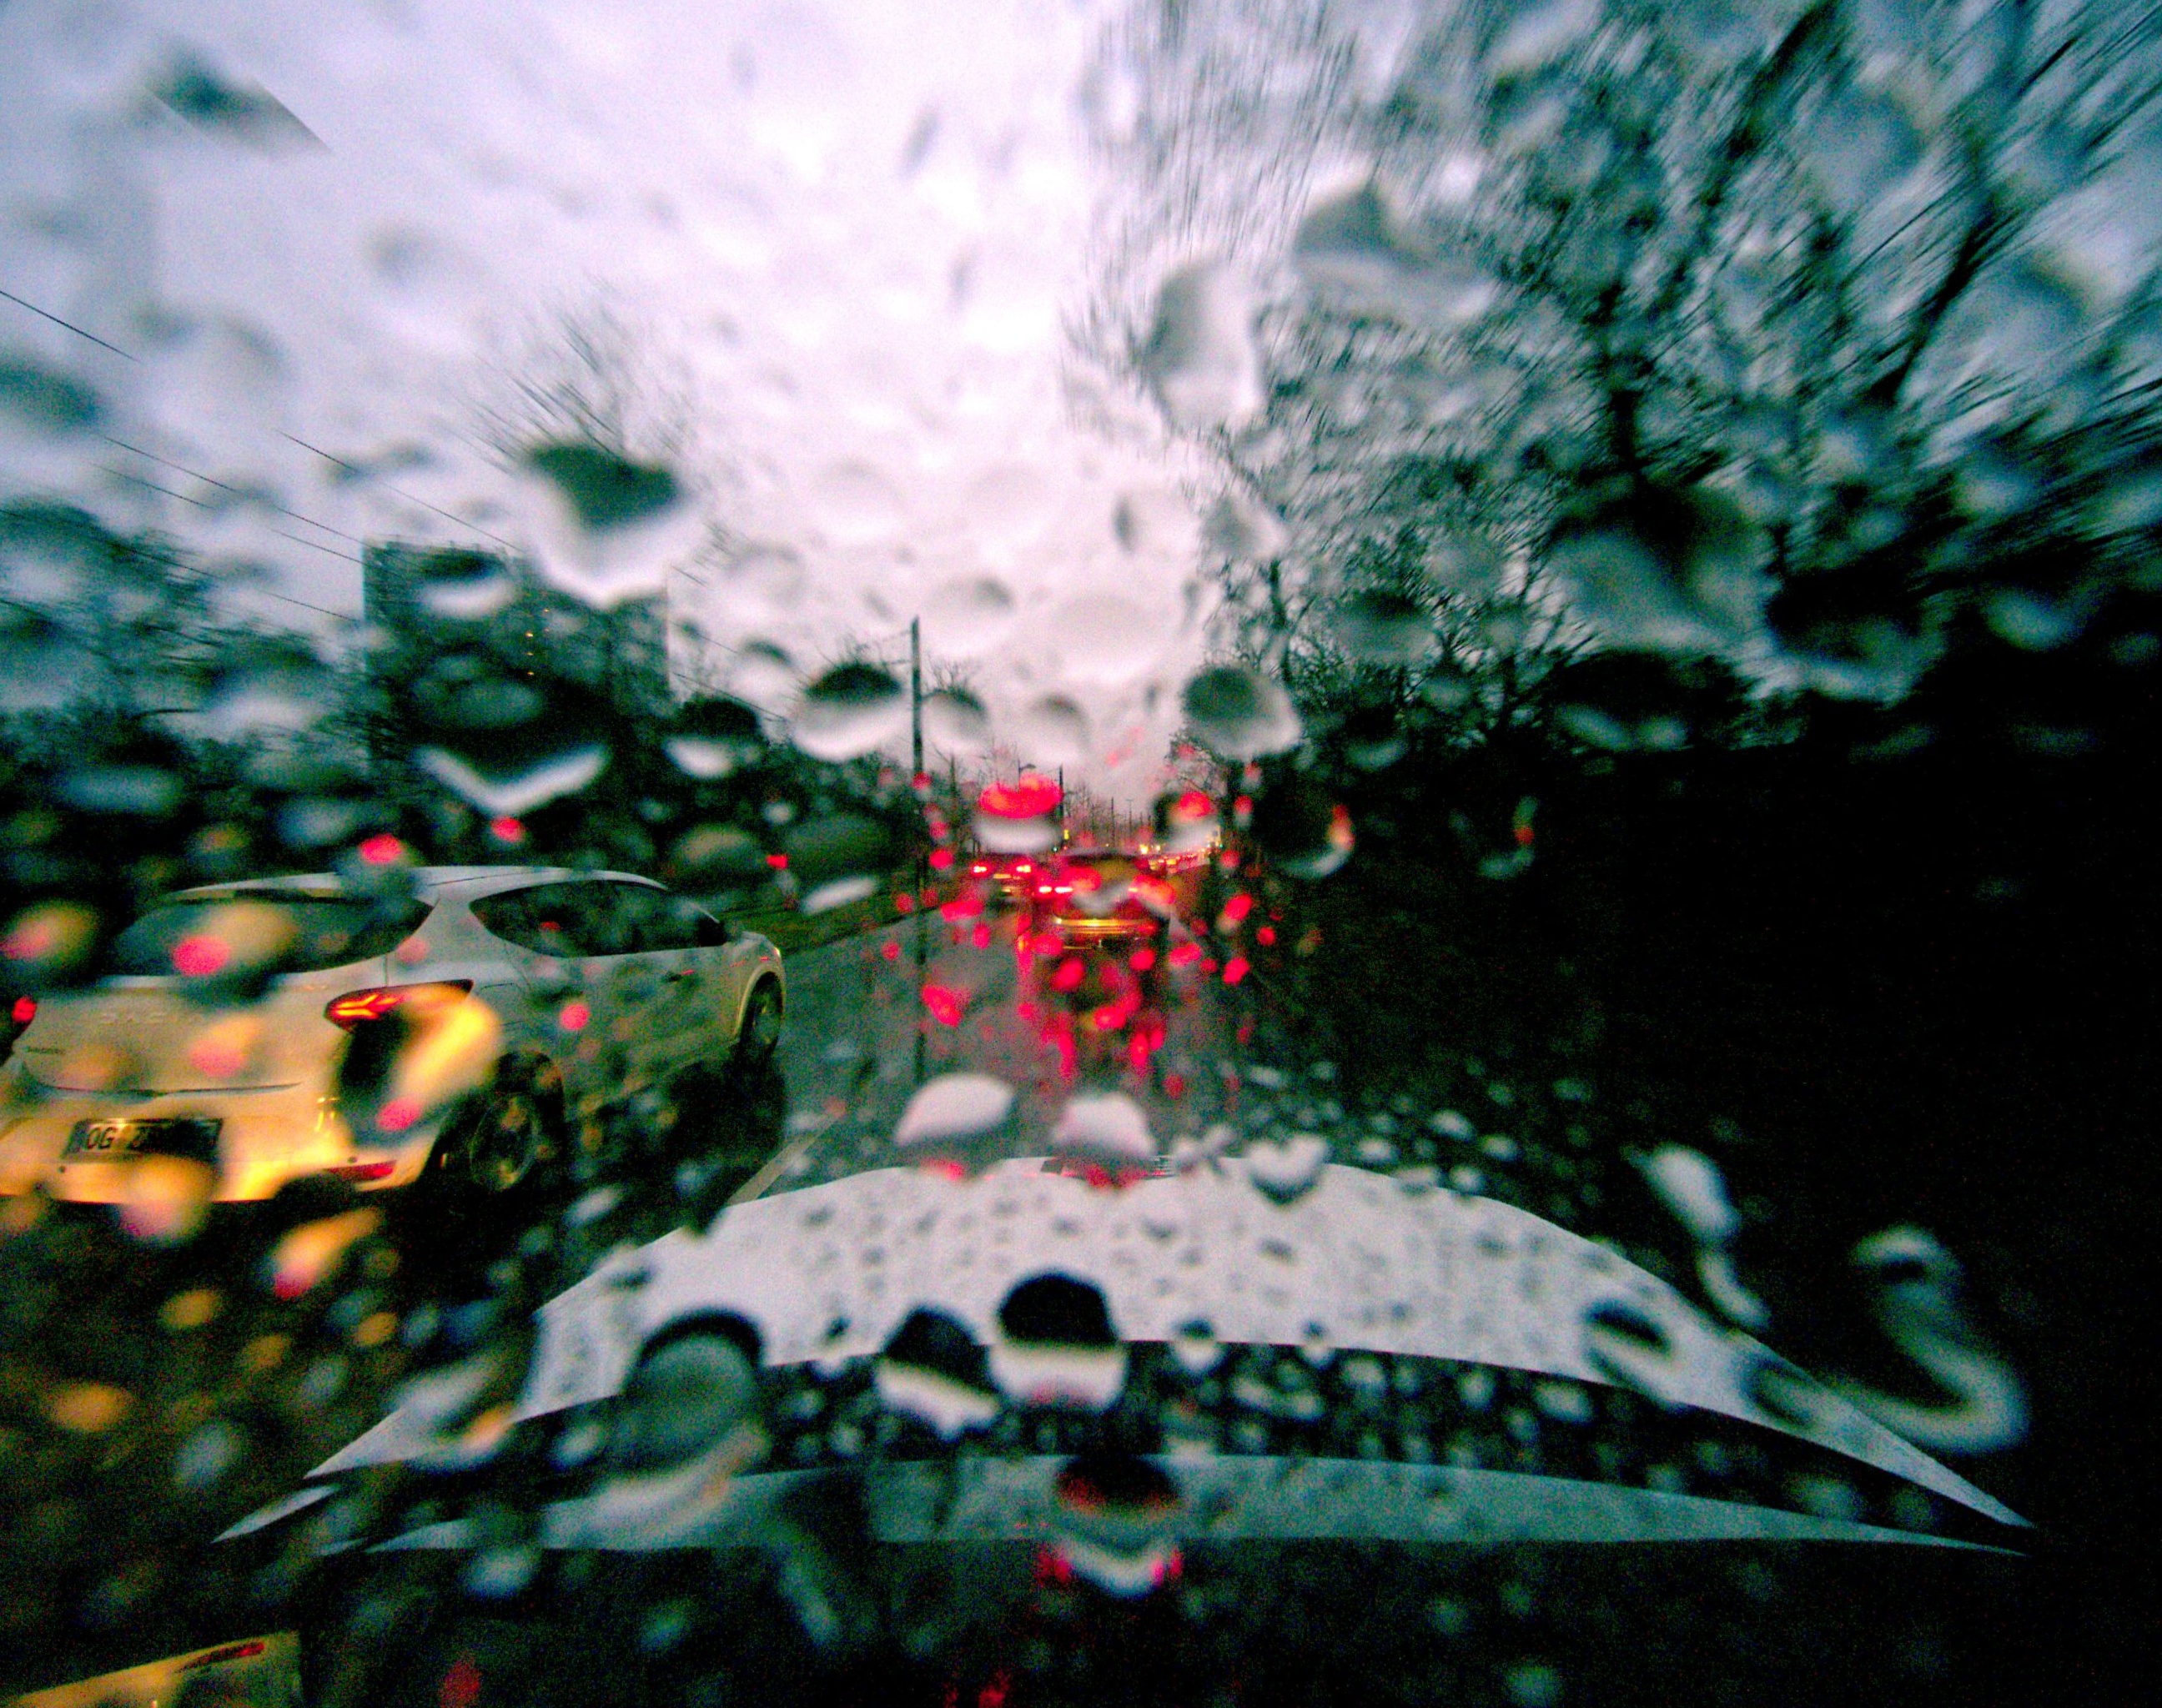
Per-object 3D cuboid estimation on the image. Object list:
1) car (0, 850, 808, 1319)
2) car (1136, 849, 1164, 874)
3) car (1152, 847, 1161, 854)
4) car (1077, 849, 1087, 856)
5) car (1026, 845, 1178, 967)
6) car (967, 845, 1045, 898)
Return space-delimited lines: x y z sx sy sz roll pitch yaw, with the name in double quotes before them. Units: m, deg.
"car" -3.225 0.766 4.756 1.702 1.525 4.137 -1 0 2
"car" 4.543 0.488 53.919 1.701 1.558 4.000 -1 0 4
"car" 20.572 -0.920 221.745 1.982 1.666 3.846 -2 0 9
"car" 0.240 -0.411 215.411 1.982 1.658 4.010 0 0 9
"car" 0.350 0.674 12.728 1.990 1.584 4.002 -1 0 2
"car" -2.222 0.490 25.241 1.873 1.459 4.002 -2 1 2
